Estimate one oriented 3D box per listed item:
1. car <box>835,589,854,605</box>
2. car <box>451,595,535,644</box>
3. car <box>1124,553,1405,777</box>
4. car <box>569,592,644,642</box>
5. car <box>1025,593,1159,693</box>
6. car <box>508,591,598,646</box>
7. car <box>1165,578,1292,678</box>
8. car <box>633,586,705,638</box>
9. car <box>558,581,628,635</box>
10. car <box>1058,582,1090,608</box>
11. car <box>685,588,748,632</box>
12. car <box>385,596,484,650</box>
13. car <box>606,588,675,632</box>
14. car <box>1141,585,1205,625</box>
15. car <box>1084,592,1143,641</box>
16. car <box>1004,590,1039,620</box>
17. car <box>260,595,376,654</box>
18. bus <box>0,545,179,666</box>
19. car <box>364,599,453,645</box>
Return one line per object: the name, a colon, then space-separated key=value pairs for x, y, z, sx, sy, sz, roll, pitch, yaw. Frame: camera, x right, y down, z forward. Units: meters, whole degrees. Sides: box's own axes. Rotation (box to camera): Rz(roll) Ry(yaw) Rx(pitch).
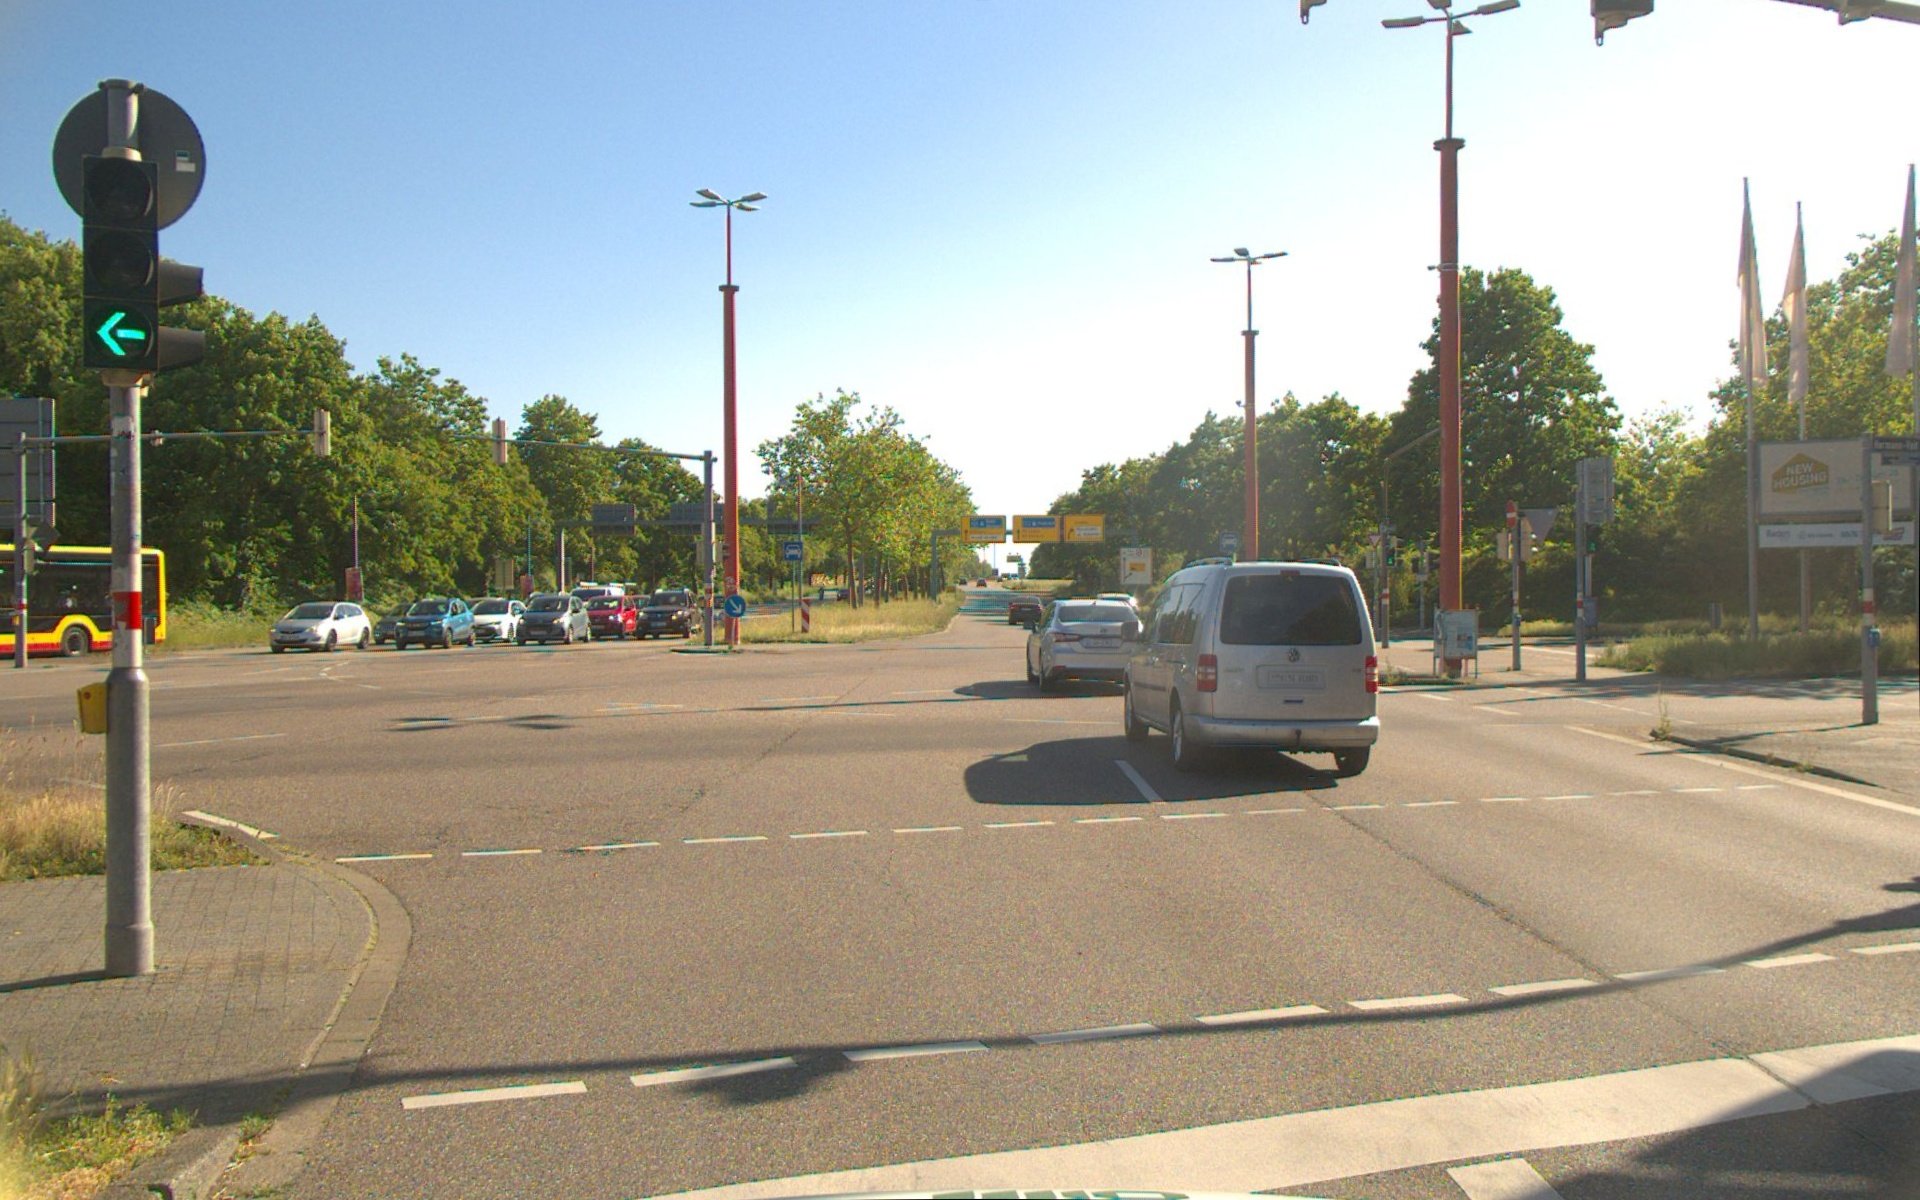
car: x=-13.678 y=-0.350 z=196.028 sx=1.876 sy=1.878 sz=3.960 roll=0 pitch=0 yaw=-1
car: x=-16.036 y=0.661 z=57.026 sx=1.863 sy=1.582 sz=3.998 roll=-1 pitch=0 yaw=-2
car: x=2.764 y=0.550 z=16.061 sx=1.768 sy=1.853 sz=4.585 roll=0 pitch=0 yaw=-2
car: x=-12.450 y=0.581 z=58.429 sx=1.838 sy=1.579 sz=3.998 roll=-3 pitch=0 yaw=-2
car: x=2.125 y=0.674 z=27.811 sx=1.768 sy=1.519 sz=4.681 roll=1 pitch=0 yaw=-1
car: x=-12.774 y=0.550 z=52.086 sx=1.836 sy=1.577 sz=4.027 roll=-2 pitch=1 yaw=-1
car: x=5.459 y=0.521 z=34.240 sx=1.767 sy=1.884 sz=5.102 roll=-1 pitch=0 yaw=0
car: x=-9.843 y=0.383 z=56.209 sx=1.757 sy=1.654 sz=4.142 roll=-2 pitch=0 yaw=-2
car: x=-15.625 y=0.328 z=70.585 sx=1.922 sy=2.193 sz=5.080 roll=-1 pitch=0 yaw=-1
car: x=7.599 y=-0.307 z=110.747 sx=1.728 sy=1.664 sz=4.297 roll=1 pitch=0 yaw=-1
car: x=-9.354 y=0.373 z=63.695 sx=1.847 sy=1.570 sz=3.999 roll=-2 pitch=0 yaw=-1
car: x=-16.108 y=0.681 z=50.874 sx=1.764 sy=1.542 sz=3.858 roll=-2 pitch=0 yaw=0
car: x=-12.409 y=0.365 z=64.429 sx=1.862 sy=1.658 sz=4.000 roll=0 pitch=0 yaw=1
car: x=9.304 y=0.202 z=72.592 sx=1.730 sy=1.664 sz=4.291 roll=0 pitch=0 yaw=-7
car: x=5.442 y=0.576 z=59.002 sx=1.681 sy=1.636 sz=3.846 roll=1 pitch=0 yaw=-1
car: x=3.151 y=0.251 z=85.196 sx=1.727 sy=1.466 sz=4.295 roll=1 pitch=0 yaw=1
car: x=-19.547 y=0.735 z=50.540 sx=1.838 sy=1.681 sz=4.219 roll=-1 pitch=0 yaw=0
bus: x=-27.496 y=0.136 z=45.628 sx=2.591 sy=3.318 sz=12.538 roll=1 pitch=0 yaw=20
car: x=-19.893 y=0.772 z=59.792 sx=1.846 sy=1.539 sz=4.000 roll=-1 pitch=0 yaw=0
